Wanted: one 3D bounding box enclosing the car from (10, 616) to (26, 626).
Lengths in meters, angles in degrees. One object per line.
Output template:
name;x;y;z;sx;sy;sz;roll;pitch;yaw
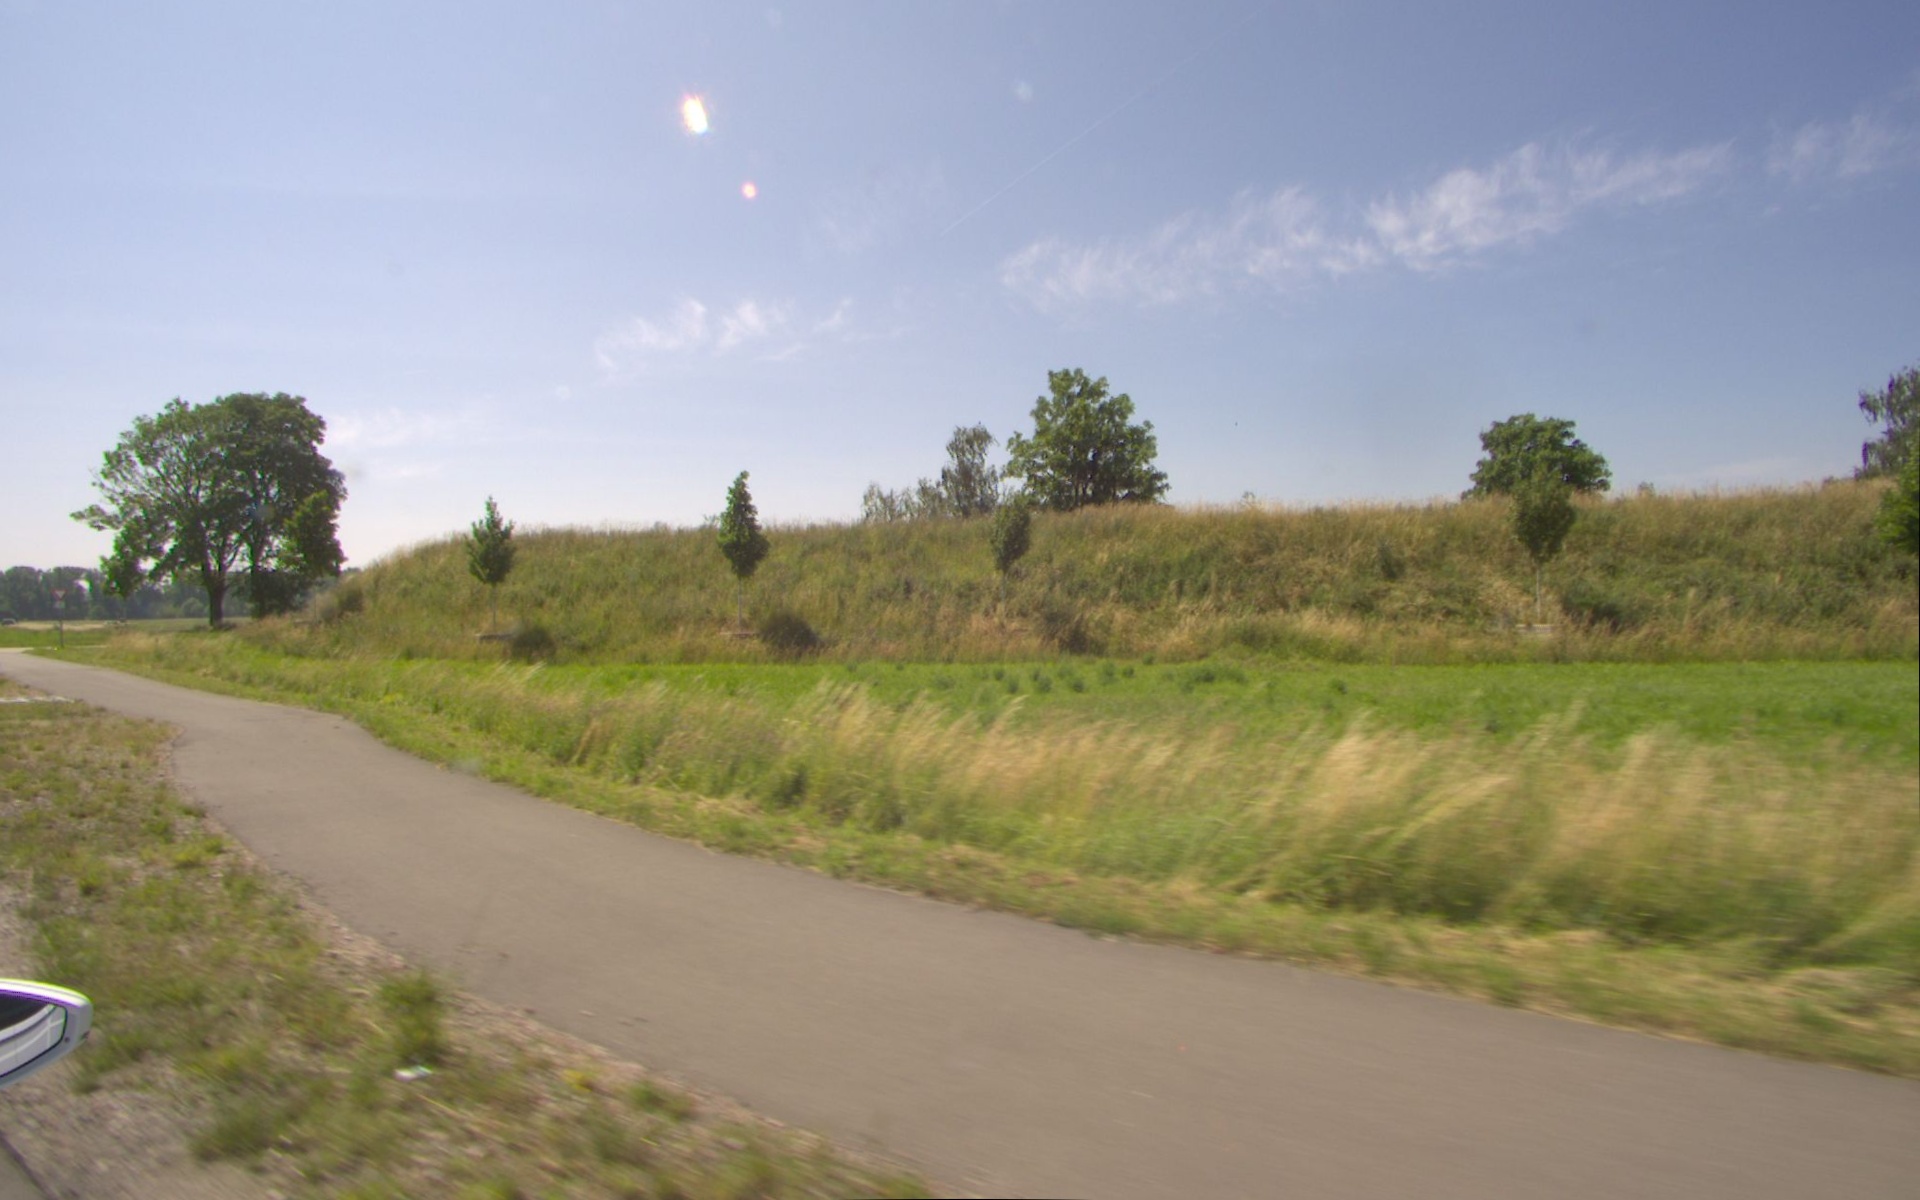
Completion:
car;-150.268;3.296;159.725;1.787;1.541;3.846;1;-1;-42
